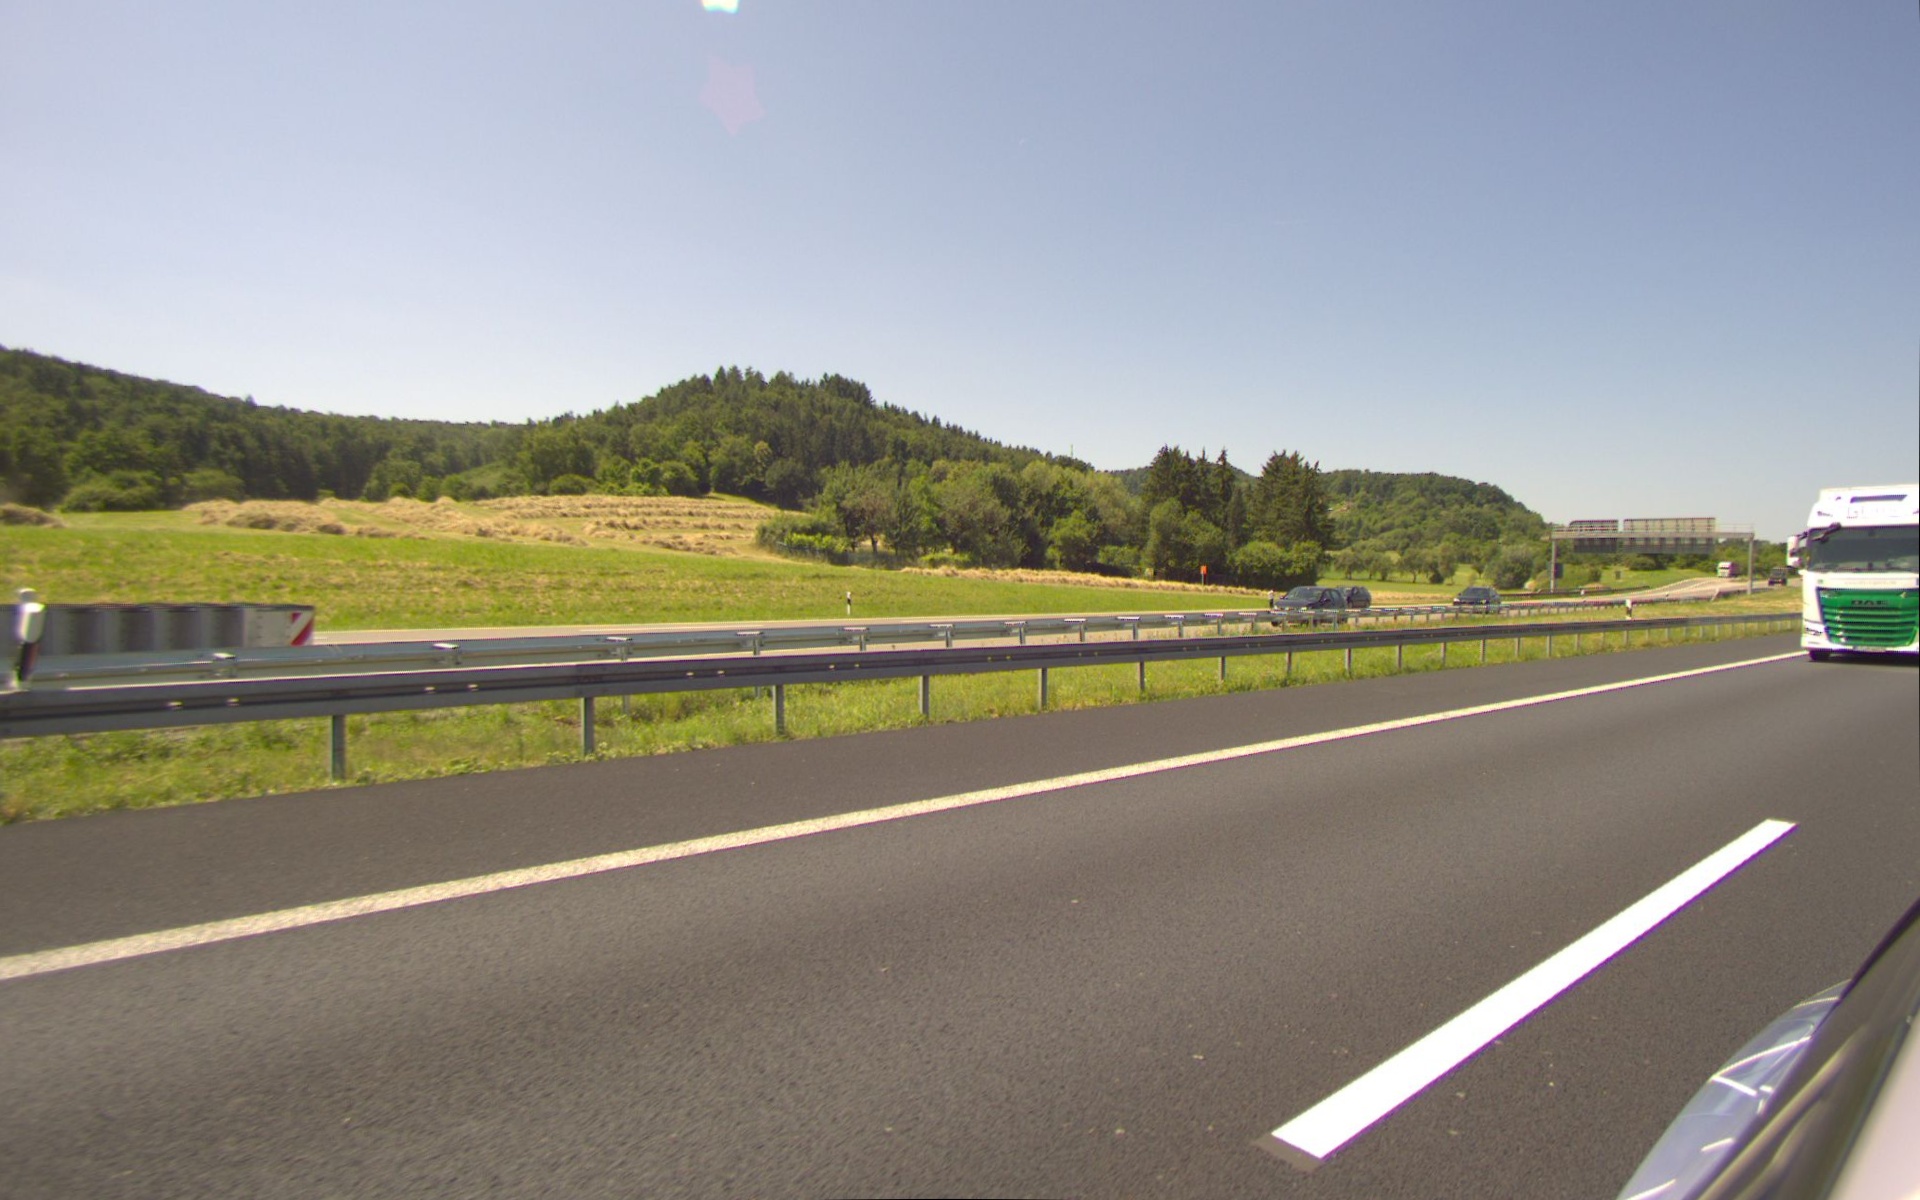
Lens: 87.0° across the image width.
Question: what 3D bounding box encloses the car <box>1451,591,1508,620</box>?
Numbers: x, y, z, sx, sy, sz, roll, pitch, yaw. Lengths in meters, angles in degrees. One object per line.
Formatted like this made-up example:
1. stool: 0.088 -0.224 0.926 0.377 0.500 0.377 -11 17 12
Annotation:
1. car: 28.740 0.296 55.917 1.886 1.491 3.808 0 0 42

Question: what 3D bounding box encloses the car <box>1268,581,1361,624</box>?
1. car: 12.533 0.055 35.710 1.776 1.417 3.703 0 0 43

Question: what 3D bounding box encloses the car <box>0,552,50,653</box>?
1. car: -17.950 0.071 16.048 1.994 1.683 5.145 0 0 44

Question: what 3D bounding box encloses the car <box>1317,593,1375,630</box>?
1. car: 22.492 0.616 58.969 1.991 2.039 3.943 0 0 40

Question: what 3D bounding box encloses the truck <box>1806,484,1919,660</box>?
1. truck: 21.167 -0.614 22.755 4.328 3.638 2.646 -1 0 -41

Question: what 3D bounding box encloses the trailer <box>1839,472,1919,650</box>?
1. trailer: 28.290 -0.980 29.032 14.635 4.241 2.660 -1 0 -41
